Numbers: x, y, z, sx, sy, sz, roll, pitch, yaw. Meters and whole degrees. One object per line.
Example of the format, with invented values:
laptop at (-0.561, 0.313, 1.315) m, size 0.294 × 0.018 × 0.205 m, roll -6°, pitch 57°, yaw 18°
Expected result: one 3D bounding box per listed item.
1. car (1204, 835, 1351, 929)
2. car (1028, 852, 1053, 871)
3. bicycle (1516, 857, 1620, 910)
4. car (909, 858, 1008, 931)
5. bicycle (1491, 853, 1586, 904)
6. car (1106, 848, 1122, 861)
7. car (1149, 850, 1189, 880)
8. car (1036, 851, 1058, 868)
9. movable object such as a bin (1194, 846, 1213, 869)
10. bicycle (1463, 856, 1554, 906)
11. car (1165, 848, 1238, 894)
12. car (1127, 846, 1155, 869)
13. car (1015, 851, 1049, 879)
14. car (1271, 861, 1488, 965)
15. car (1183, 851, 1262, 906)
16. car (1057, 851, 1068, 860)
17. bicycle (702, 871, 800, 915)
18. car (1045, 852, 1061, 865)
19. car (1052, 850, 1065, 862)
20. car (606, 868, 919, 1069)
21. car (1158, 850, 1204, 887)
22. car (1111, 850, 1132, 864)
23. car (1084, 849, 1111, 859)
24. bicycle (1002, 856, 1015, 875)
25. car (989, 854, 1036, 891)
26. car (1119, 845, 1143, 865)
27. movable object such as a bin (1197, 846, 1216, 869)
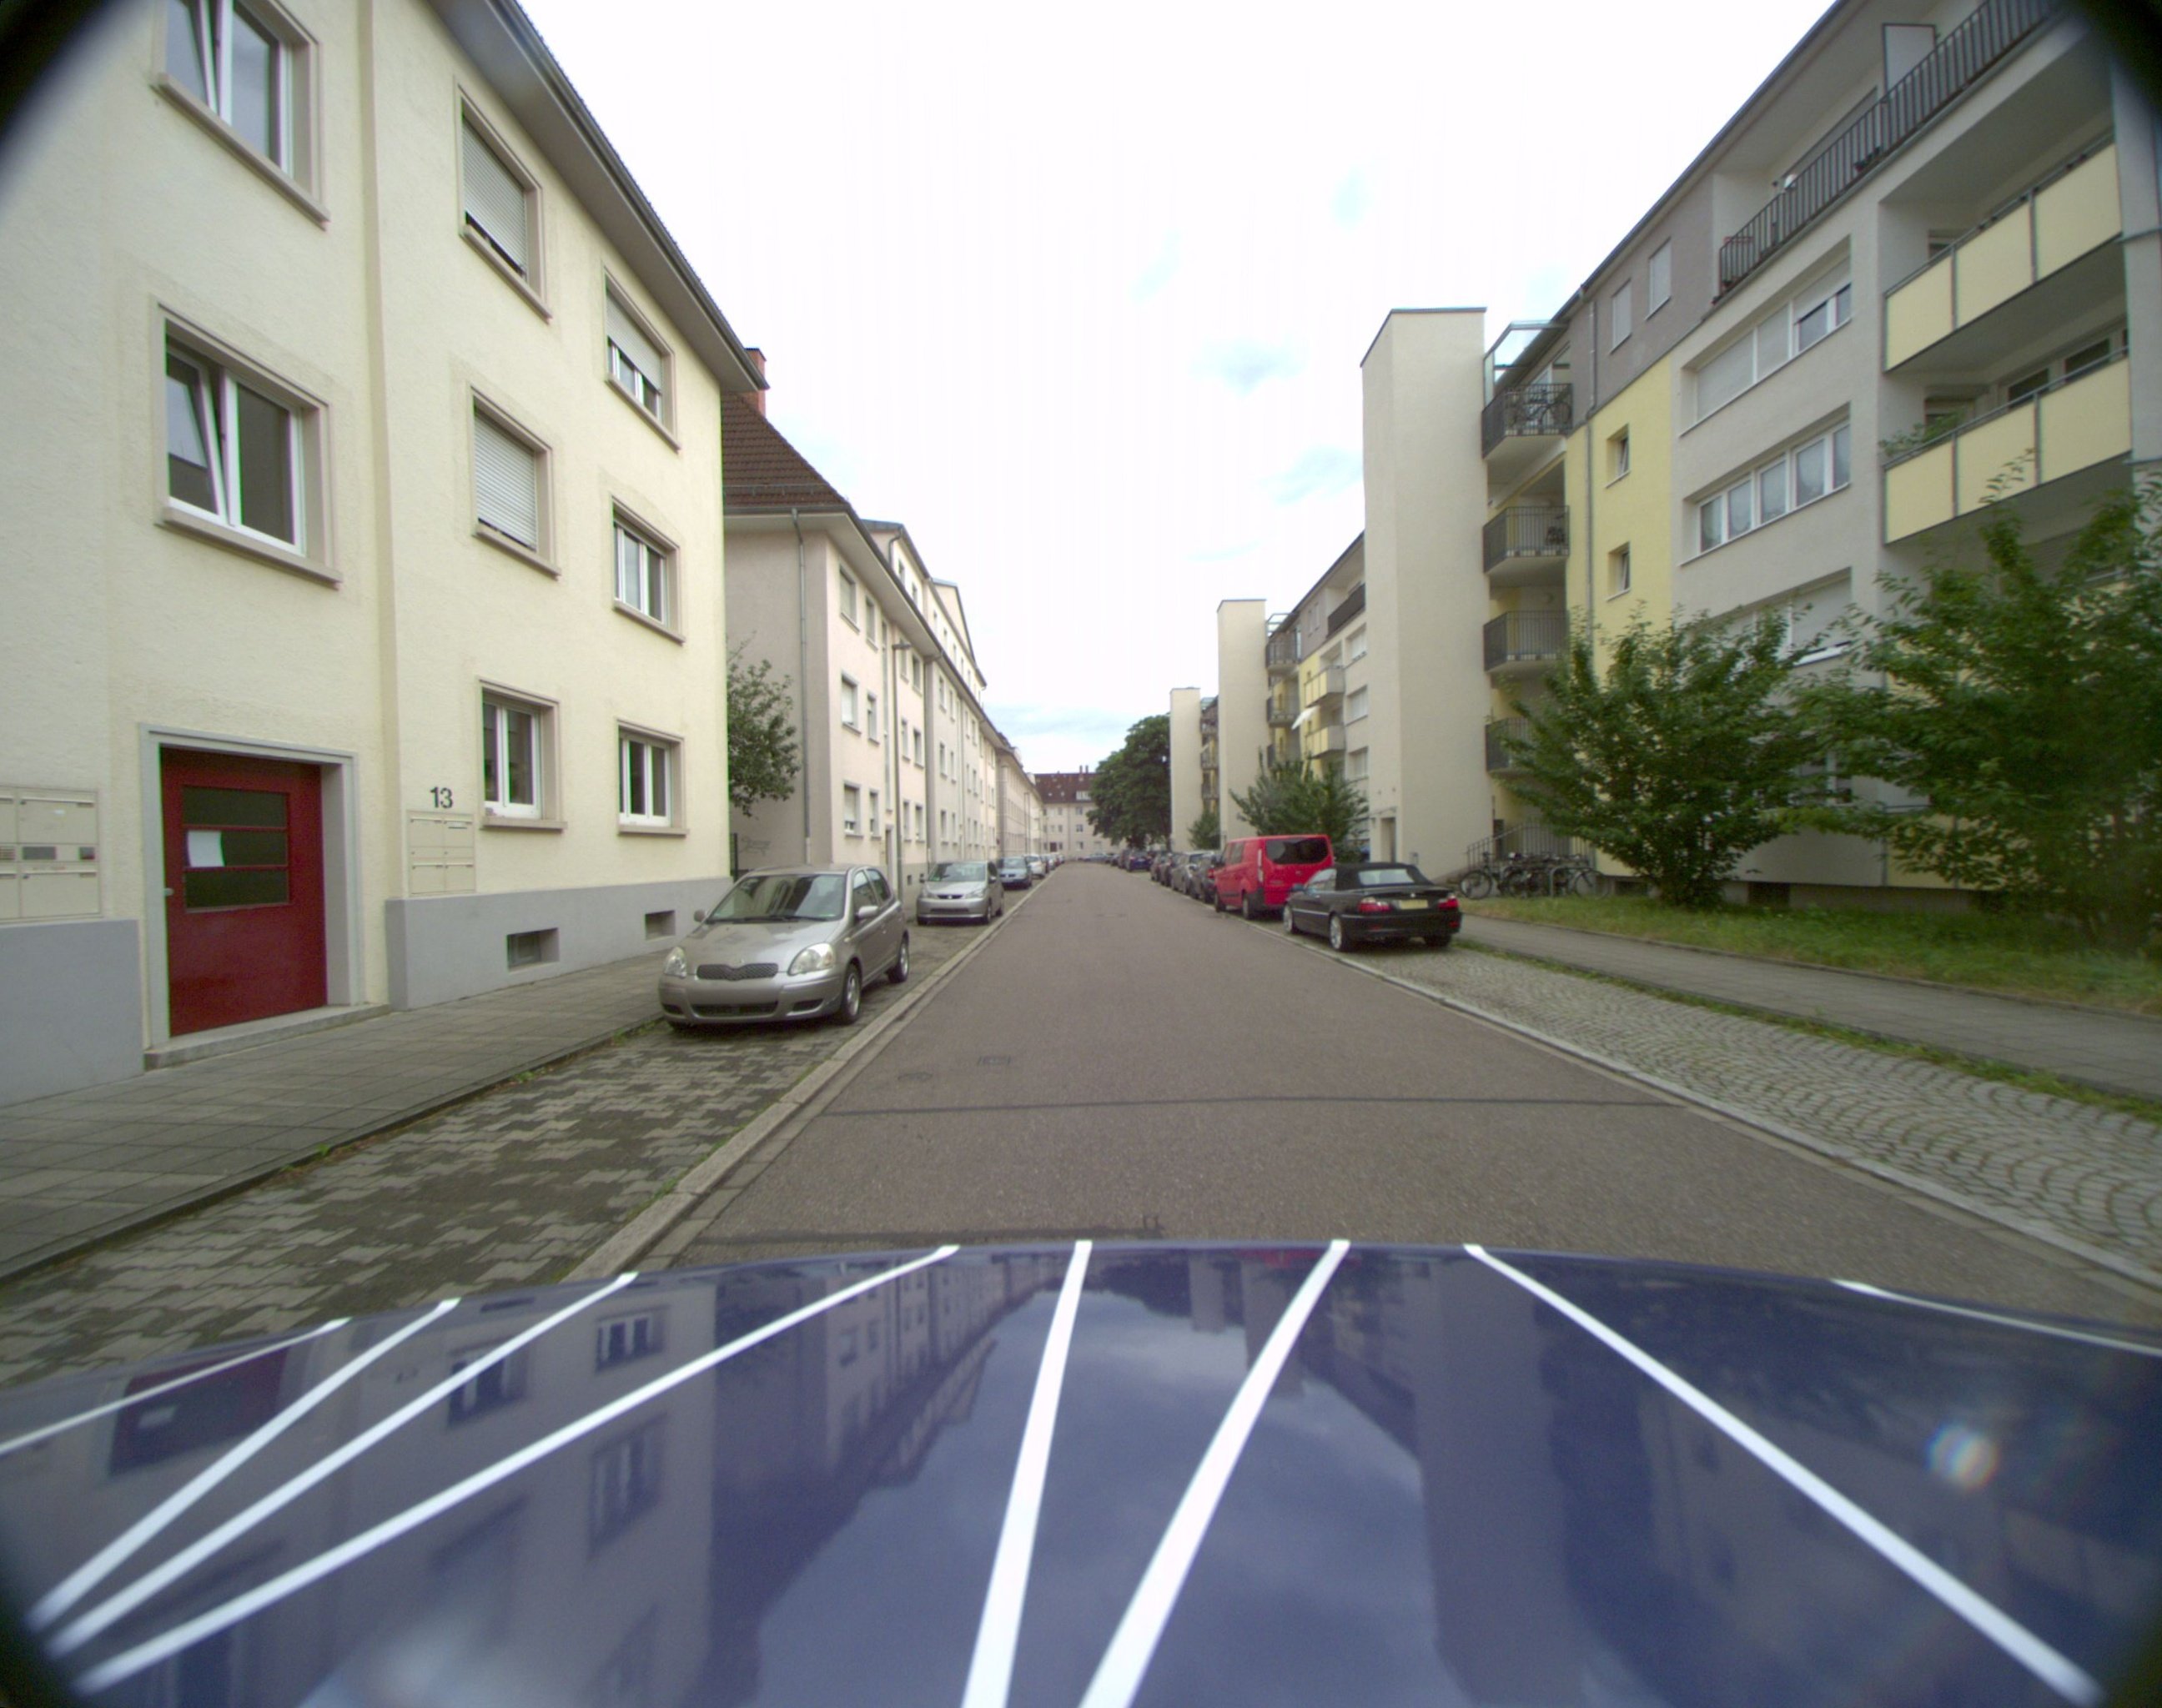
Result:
car at (4.696, 0.585, 19.056) m, size 2.157 × 1.942 × 4.920 m, roll -3°, pitch 1°, yaw -2°
car at (-3.102, 0.565, 58.819) m, size 1.758 × 1.401 × 3.936 m, roll -1°, pitch 0°, yaw 0°
bicycle at (10.659, 0.639, 16.675) m, size 1.838 × 1.112 × 0.570 m, roll -1°, pitch 1°, yaw 6°
car at (-2.838, 0.893, 18.427) m, size 1.729 × 1.483 × 4.060 m, roll -1°, pitch 1°, yaw 0°
bicycle at (10.601, 0.562, 17.649) m, size 1.839 × 1.112 × 0.570 m, roll -1°, pitch 1°, yaw 2°
car at (4.641, 0.060, 106.510) m, size 2.000 × 1.566 × 4.209 m, roll -3°, pitch 0°, yaw 0°
car at (4.721, 0.568, 41.041) m, size 1.647 × 1.430 × 3.856 m, roll -3°, pitch 1°, yaw 0°
car at (-3.038, 0.483, 68.816) m, size 1.792 × 1.455 × 4.039 m, roll 0°, pitch 0°, yaw 0°
movable object such as a bin at (8.211, 0.252, 50.984) m, size 1.004 × 1.492 × 1.314 m, roll -2°, pitch 1°, yaw 0°
bicycle at (10.300, 0.639, 18.322) m, size 1.839 × 1.112 × 0.604 m, roll -2°, pitch 1°, yaw -1°
car at (4.580, 0.605, 29.630) m, size 1.839 × 1.561 × 4.860 m, roll -3°, pitch 1°, yaw -2°
car at (4.607, 0.260, 59.046) m, size 1.804 × 1.617 × 4.471 m, roll -2°, pitch 0°, yaw 0°
car at (-2.962, 0.650, 46.913) m, size 1.788 × 1.590 × 3.804 m, roll -1°, pitch 0°, yaw 1°
car at (4.812, 0.864, 13.027) m, size 1.875 × 1.316 × 4.360 m, roll -2°, pitch 1°, yaw -1°
car at (4.493, 0.719, 24.610) m, size 1.725 × 1.561 × 4.053 m, roll -3°, pitch 1°, yaw 0°
car at (-2.795, 0.243, 115.348) m, size 1.563 × 1.334 × 3.788 m, roll -1°, pitch 0°, yaw 0°
bicycle at (-8.472, 0.992, 19.572) m, size 2.214 × 1.070 × 0.648 m, roll -1°, pitch 1°, yaw -1°
car at (-3.219, 0.510, 87.904) m, size 1.758 × 1.477 × 3.773 m, roll 0°, pitch 0°, yaw 0°
car at (-3.075, 0.226, 104.137) m, size 1.764 × 1.595 × 3.955 m, roll -1°, pitch 0°, yaw 0°
car at (-3.006, 0.963, 8.191) m, size 1.729 × 1.509 × 4.059 m, roll -1°, pitch 1°, yaw -1°
car at (4.605, 0.635, 35.433) m, size 1.657 × 1.521 × 3.895 m, roll -3°, pitch 1°, yaw 2°
car at (4.586, 0.327, 86.512) m, size 1.919 × 1.431 × 4.433 m, roll -3°, pitch 0°, yaw -2°
car at (2.780, -0.022, 129.388) m, size 4.546 × 1.551 × 1.565 m, roll -1°, pitch 1°, yaw 4°
bicycle at (-4.620, 0.717, 48.363) m, size 0.607 × 1.133 × 2.124 m, roll 0°, pitch 1°, yaw -1°
car at (-3.020, 0.779, 34.144) m, size 1.729 × 1.460 × 4.263 m, roll -1°, pitch 1°, yaw 0°
car at (4.641, 0.065, 71.194) m, size 1.891 × 1.844 × 4.784 m, roll -1°, pitch 0°, yaw -1°
movable object such as a bin at (8.187, 0.246, 49.643) m, size 1.004 × 1.439 × 1.314 m, roll -2°, pitch 1°, yaw 0°
